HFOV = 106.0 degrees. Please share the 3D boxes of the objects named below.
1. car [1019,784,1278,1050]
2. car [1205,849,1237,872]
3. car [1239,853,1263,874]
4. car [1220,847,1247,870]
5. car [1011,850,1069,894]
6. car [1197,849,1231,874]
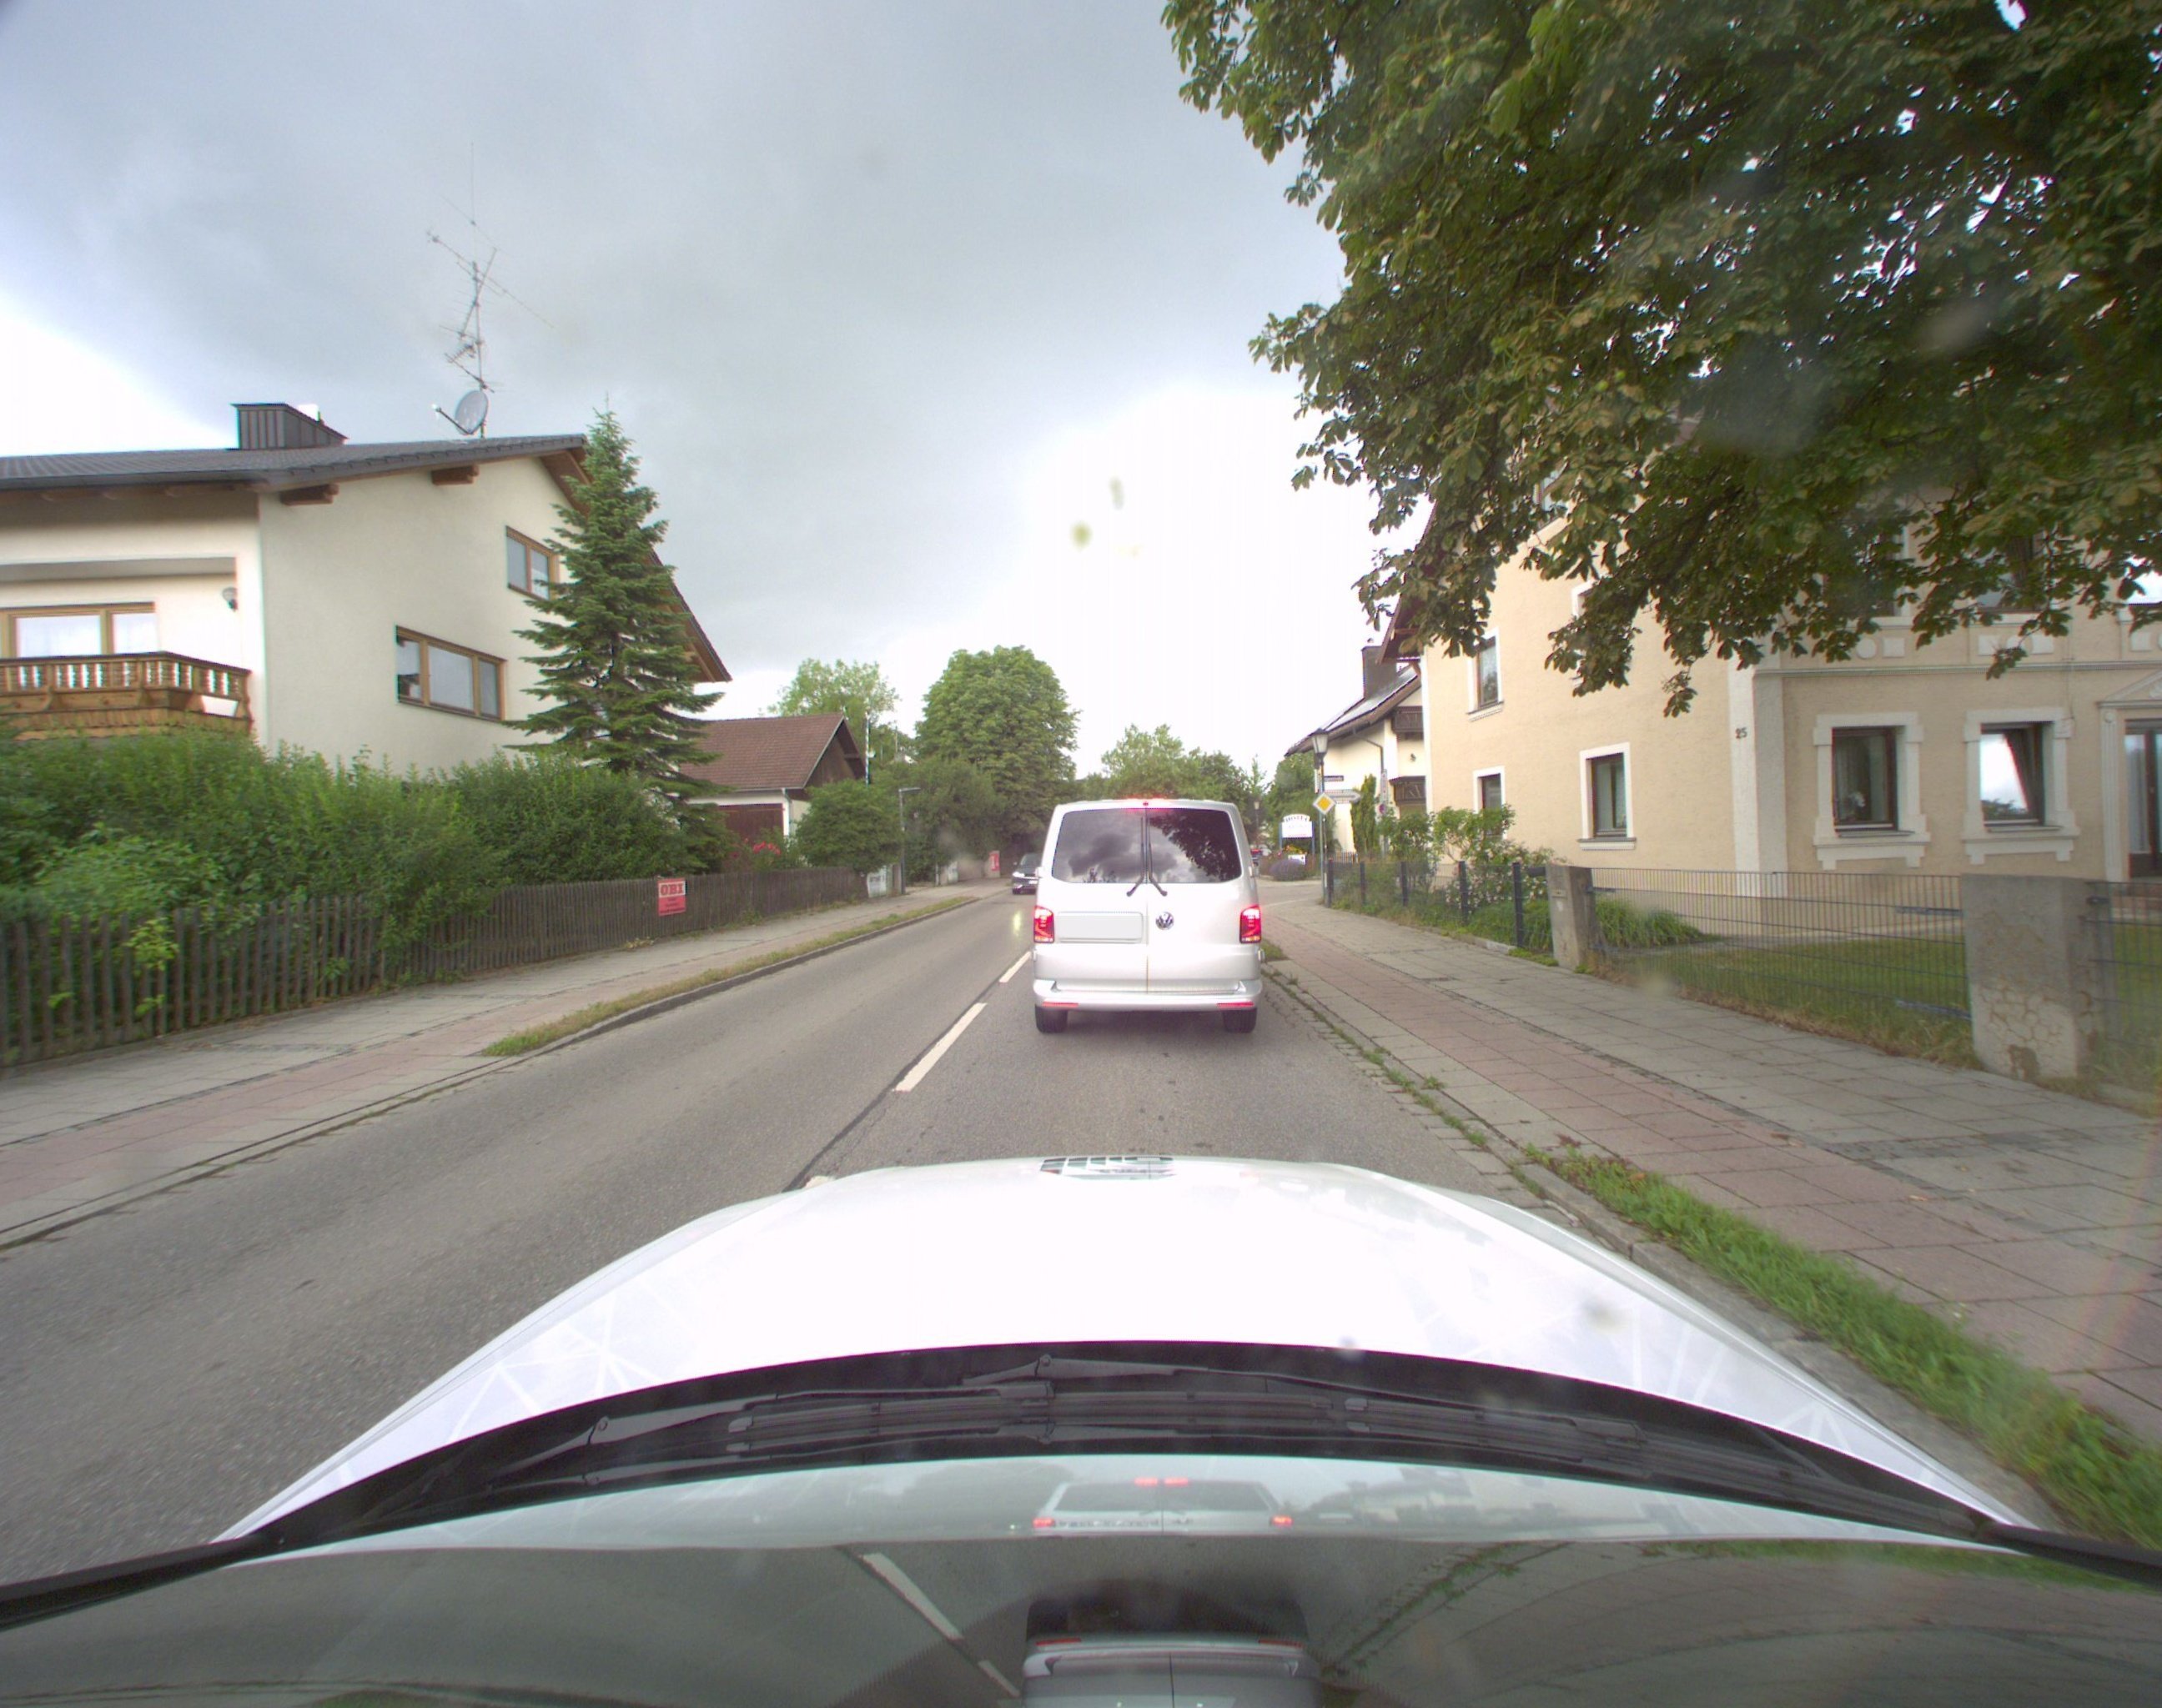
[{"bbox_3d":[0.606,0.469,8.038,1.873,1.940,3.924,-2,0,3],"label":"car"},{"bbox_3d":[10.244,0.468,59.487,1.867,1.535,3.937,-2,0,16],"label":"car"},{"bbox_3d":[15.693,0.864,74.956,1.867,1.825,3.937,-2,0,16],"label":"car"},{"bbox_3d":[12.501,0.363,66.524,1.867,1.748,4.097,-2,0,15],"label":"car"},{"bbox_3d":[-1.522,0.644,31.780,1.923,1.575,4.313,0,0,2],"label":"car"},{"bbox_3d":[8.821,0.481,53.725,1.868,1.535,3.936,-2,0,14],"label":"car"}]
